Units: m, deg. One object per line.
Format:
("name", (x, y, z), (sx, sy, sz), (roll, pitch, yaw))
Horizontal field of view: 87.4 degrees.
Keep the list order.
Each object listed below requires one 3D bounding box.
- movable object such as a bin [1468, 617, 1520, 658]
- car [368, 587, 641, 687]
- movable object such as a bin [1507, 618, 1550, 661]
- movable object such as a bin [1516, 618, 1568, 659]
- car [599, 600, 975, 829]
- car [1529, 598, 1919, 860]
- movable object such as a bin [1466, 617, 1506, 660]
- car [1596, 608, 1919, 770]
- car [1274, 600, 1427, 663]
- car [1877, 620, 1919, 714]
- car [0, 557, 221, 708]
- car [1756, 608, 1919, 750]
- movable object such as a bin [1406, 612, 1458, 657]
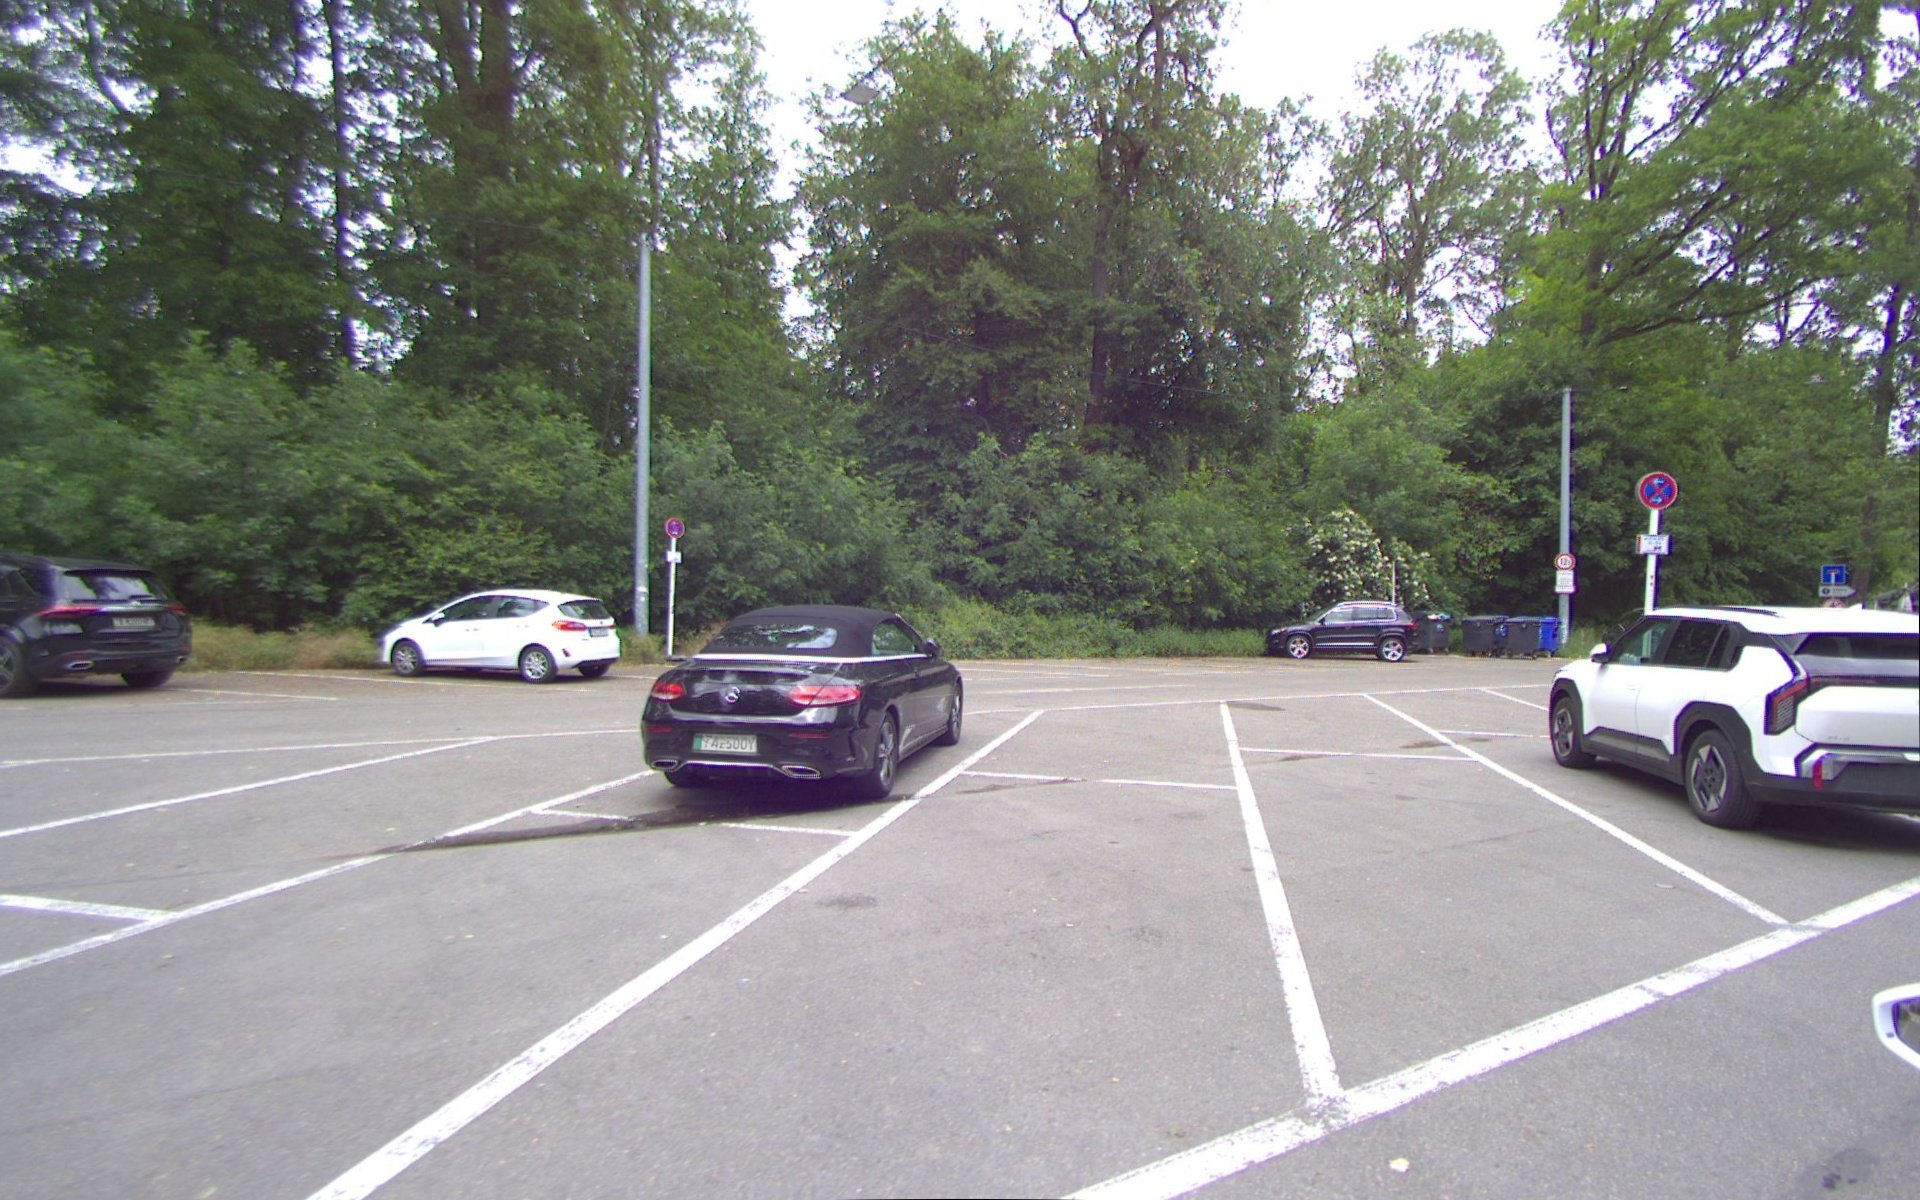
("movable object such as a bin", (18.214, 1.257, 34.268), (1.228, 1.337, 1.116), (1, 0, -36))
("car", (-7.706, 0.577, 17.120), (3.919, 1.531, 1.871), (1, 0, 15))
("movable object such as a bin", (18.127, 1.246, 32.064), (1.151, 1.324, 1.311), (1, 0, 29))
("movable object such as a bin", (19.642, 1.291, 33.886), (1.138, 1.342, 1.241), (1, 0, -43))
("car", (-1.155, 0.763, 8.815), (1.831, 1.461, 4.319), (1, 0, 11))
("car", (6.437, 0.820, 8.263), (1.809, 1.618, 4.192), (1, 0, 11))
("movable object such as a bin", (17.136, 1.242, 32.706), (1.107, 1.332, 1.182), (1, 0, 29))
("car", (9.541, 0.899, 11.898), (1.835, 1.575, 4.002), (1, 0, 7))
("car", (11.451, 0.904, 29.737), (3.989, 1.707, 1.881), (1, 0, 15))
("car", (15.650, 1.065, 14.631), (1.737, 1.462, 3.848), (1, 0, 14))
("car", (-12.771, 0.368, 13.512), (4.613, 1.790, 2.113), (1, 0, 15))
("car", (12.170, 0.922, 12.669), (1.810, 1.608, 3.979), (1, 0, 13))
("movable object such as a bin", (15.790, 1.144, 33.612), (1.116, 1.444, 1.119), (1, 0, -28))
